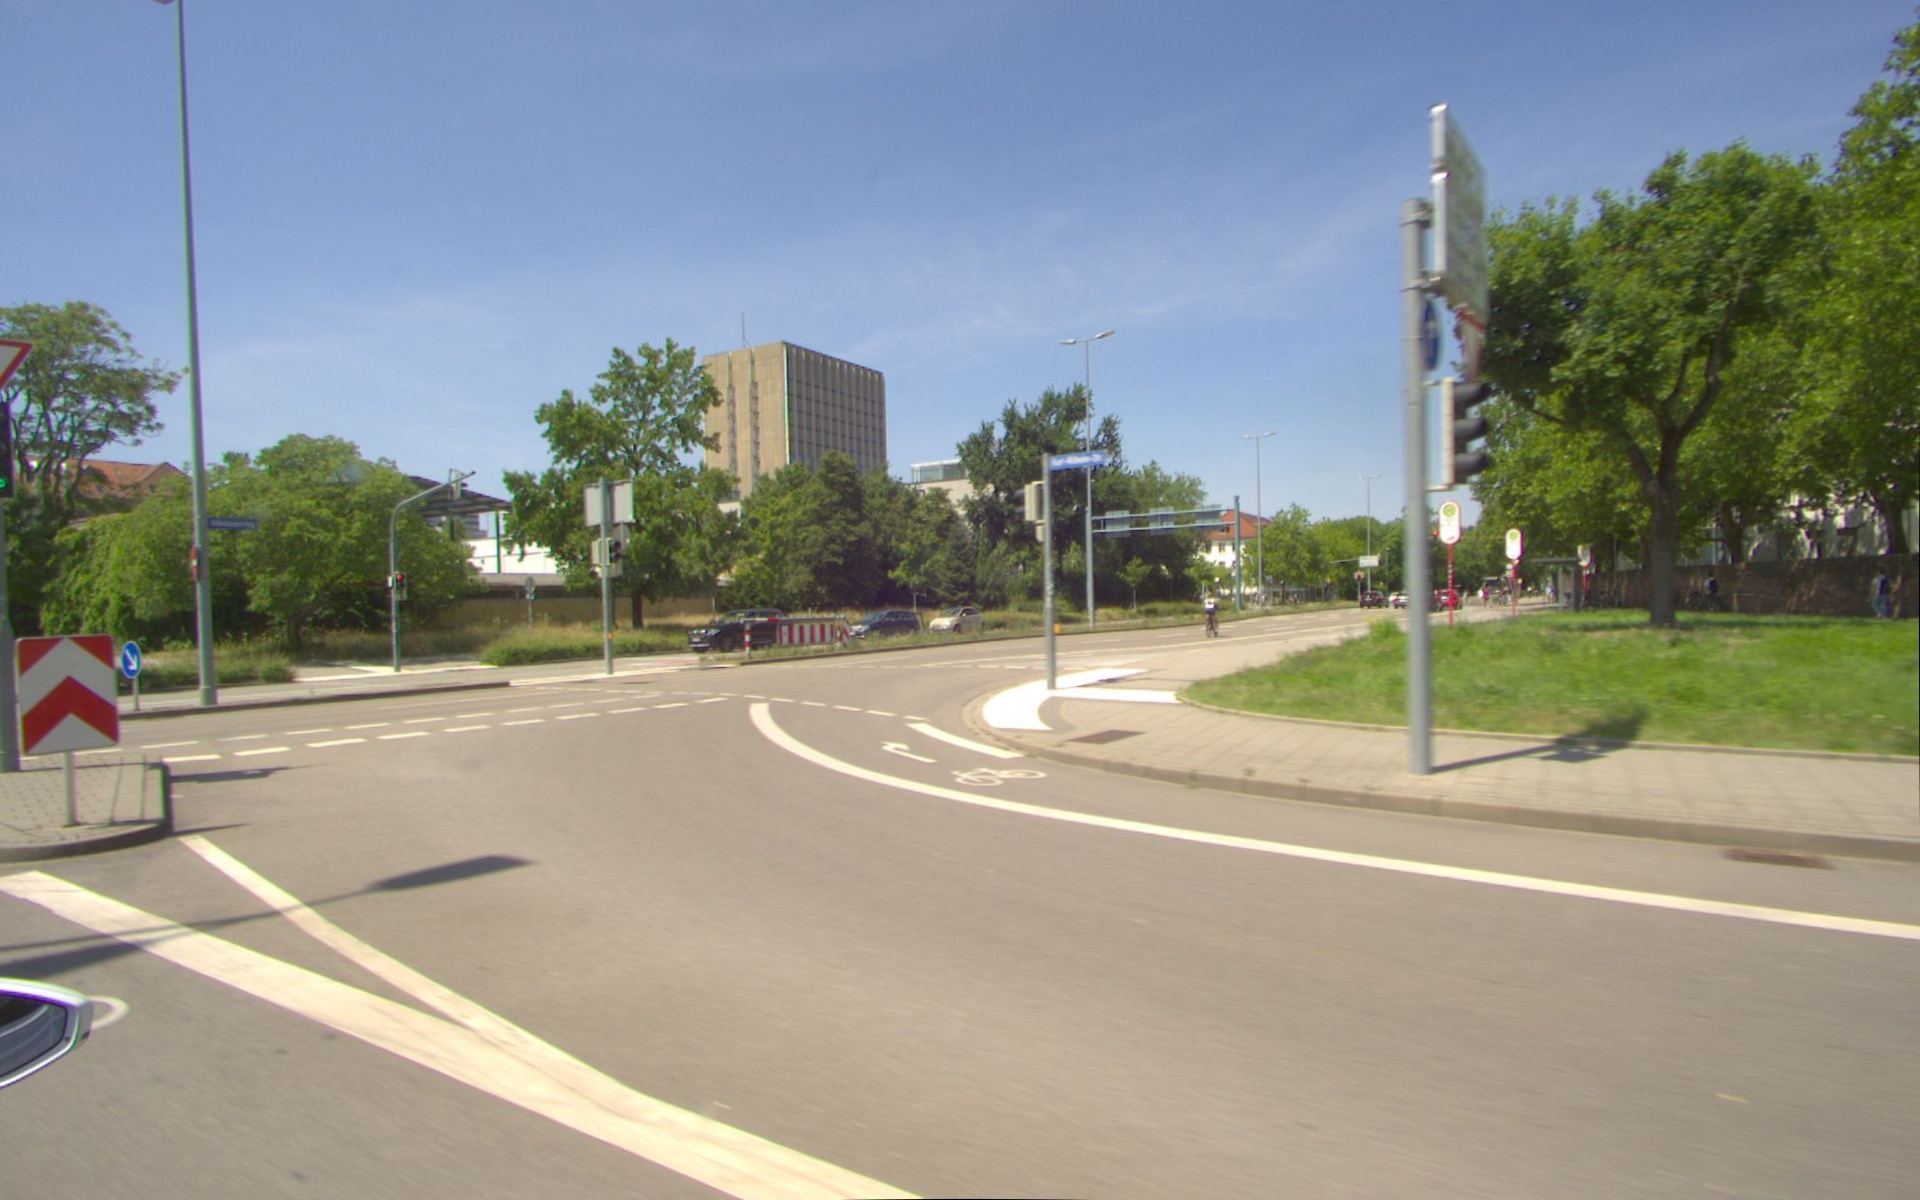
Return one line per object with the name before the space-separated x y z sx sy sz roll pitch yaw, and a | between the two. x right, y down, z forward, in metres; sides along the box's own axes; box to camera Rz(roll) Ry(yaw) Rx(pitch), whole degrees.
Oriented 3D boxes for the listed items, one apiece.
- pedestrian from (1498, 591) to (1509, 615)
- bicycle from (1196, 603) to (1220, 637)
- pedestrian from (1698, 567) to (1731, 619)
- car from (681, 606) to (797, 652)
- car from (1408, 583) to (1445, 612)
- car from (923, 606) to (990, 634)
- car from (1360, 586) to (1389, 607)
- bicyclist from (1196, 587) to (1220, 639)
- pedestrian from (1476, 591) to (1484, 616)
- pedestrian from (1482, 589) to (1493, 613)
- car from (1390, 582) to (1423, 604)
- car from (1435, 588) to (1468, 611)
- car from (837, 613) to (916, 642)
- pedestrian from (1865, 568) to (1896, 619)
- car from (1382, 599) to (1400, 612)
pedestrian | 45.885 0.273 84.557 0.778 2.039 0.836 -1 -1 33
bicycle | 9.386 0.775 37.888 0.512 1.253 2.186 -1 -2 24
pedestrian | 34.565 -0.316 45.885 0.834 2.320 1.074 0 -1 14
car | -8.807 1.131 40.287 1.688 1.607 4.522 -1 0 38
car | 35.205 -0.169 75.519 1.972 2.039 4.192 -1 -2 33
car | -0.160 1.079 52.951 1.734 1.457 3.981 -1 -2 31
car | 35.413 -0.282 85.552 1.752 1.690 3.981 -1 -2 31
bicyclist | 9.391 0.508 37.862 0.697 1.911 1.136 -1 -1 23
pedestrian | 44.060 0.291 84.867 0.542 2.039 0.533 -1 -1 34
pedestrian | 44.897 0.086 85.193 0.778 2.039 0.959 -1 -1 33
car | 37.519 -0.552 84.108 1.758 1.705 3.976 -1 -2 35
car | 39.413 -0.030 80.225 1.758 1.705 3.976 -1 -2 35
car | -3.900 1.324 47.477 1.734 1.327 3.981 -1 -2 31
pedestrian | 31.919 -0.218 34.721 0.578 1.743 0.526 0 -1 8
car | 61.564 0.797 142.884 1.712 1.708 3.895 -1 -2 33
